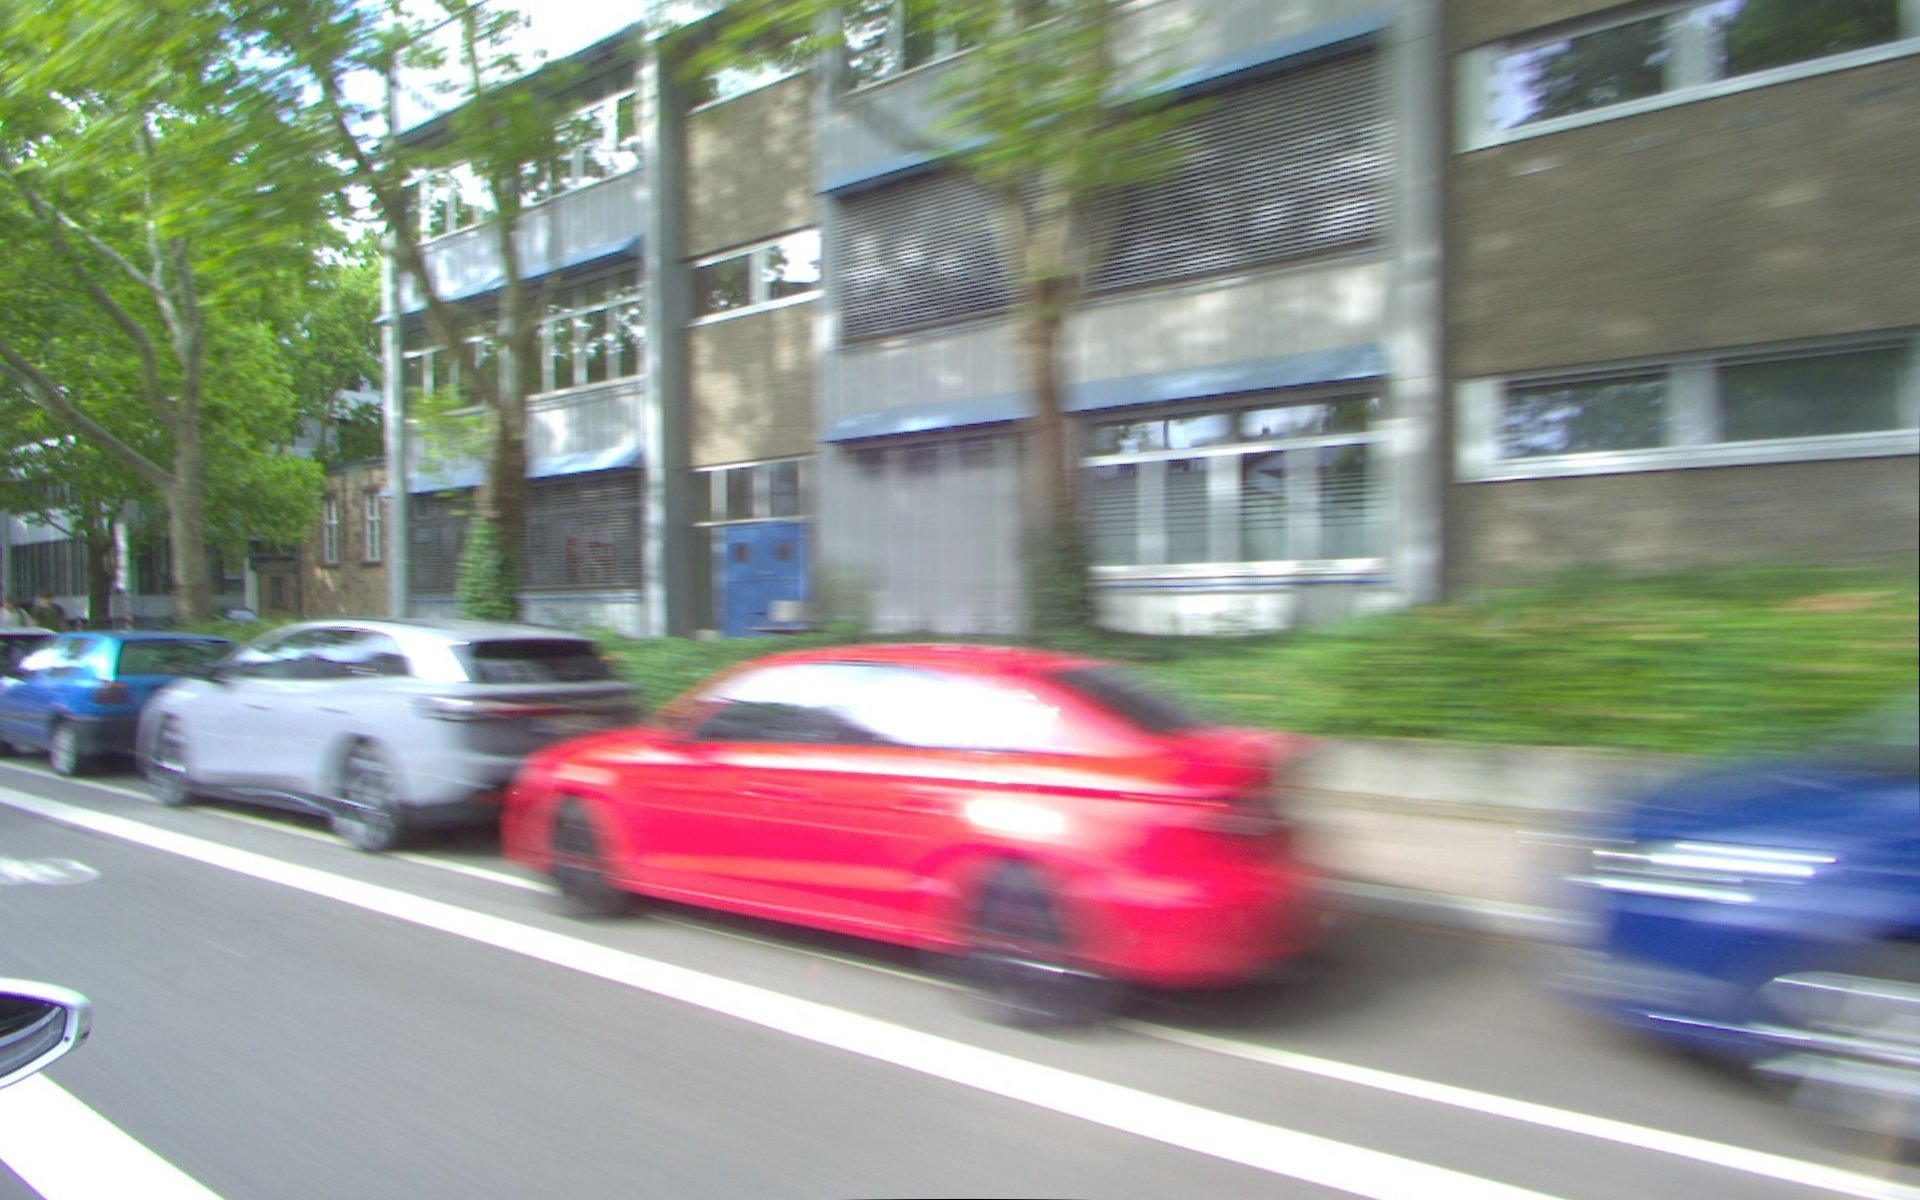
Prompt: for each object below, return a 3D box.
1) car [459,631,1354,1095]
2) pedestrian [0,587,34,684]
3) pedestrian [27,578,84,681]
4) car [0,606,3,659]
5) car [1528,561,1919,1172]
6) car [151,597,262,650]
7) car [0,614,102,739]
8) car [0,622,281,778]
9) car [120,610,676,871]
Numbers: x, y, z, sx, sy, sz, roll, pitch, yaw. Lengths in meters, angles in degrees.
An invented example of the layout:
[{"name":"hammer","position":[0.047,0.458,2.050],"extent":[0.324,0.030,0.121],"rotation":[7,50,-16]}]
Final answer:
[{"name":"car","position":[-0.467,0.907,5.097],"extent":[4.395,1.412,1.673],"rotation":[0,0,31]},{"name":"pedestrian","position":[-18.635,0.689,19.578],"extent":[0.682,1.862,0.586],"rotation":[2,0,33]},{"name":"pedestrian","position":[-18.132,0.586,20.076],"extent":[0.682,2.001,0.641],"rotation":[2,0,33]},{"name":"car","position":[-17.508,0.874,16.251],"extent":[4.436,1.661,1.667],"rotation":[0,-2,31]},{"name":"car","position":[4.151,0.760,2.849],"extent":[4.352,1.672,1.656],"rotation":[0,-1,29]},{"name":"car","position":[-23.592,0.716,31.316],"extent":[3.860,1.477,1.469],"rotation":[2,0,32]},{"name":"car","position":[-13.304,0.937,13.343],"extent":[4.254,1.489,1.627],"rotation":[0,0,31]},{"name":"car","position":[-9.307,0.985,11.036],"extent":[3.944,1.403,1.619],"rotation":[0,-3,34]},{"name":"car","position":[-4.603,0.871,7.949],"extent":[4.800,1.536,1.725],"rotation":[0,-1,31]}]
